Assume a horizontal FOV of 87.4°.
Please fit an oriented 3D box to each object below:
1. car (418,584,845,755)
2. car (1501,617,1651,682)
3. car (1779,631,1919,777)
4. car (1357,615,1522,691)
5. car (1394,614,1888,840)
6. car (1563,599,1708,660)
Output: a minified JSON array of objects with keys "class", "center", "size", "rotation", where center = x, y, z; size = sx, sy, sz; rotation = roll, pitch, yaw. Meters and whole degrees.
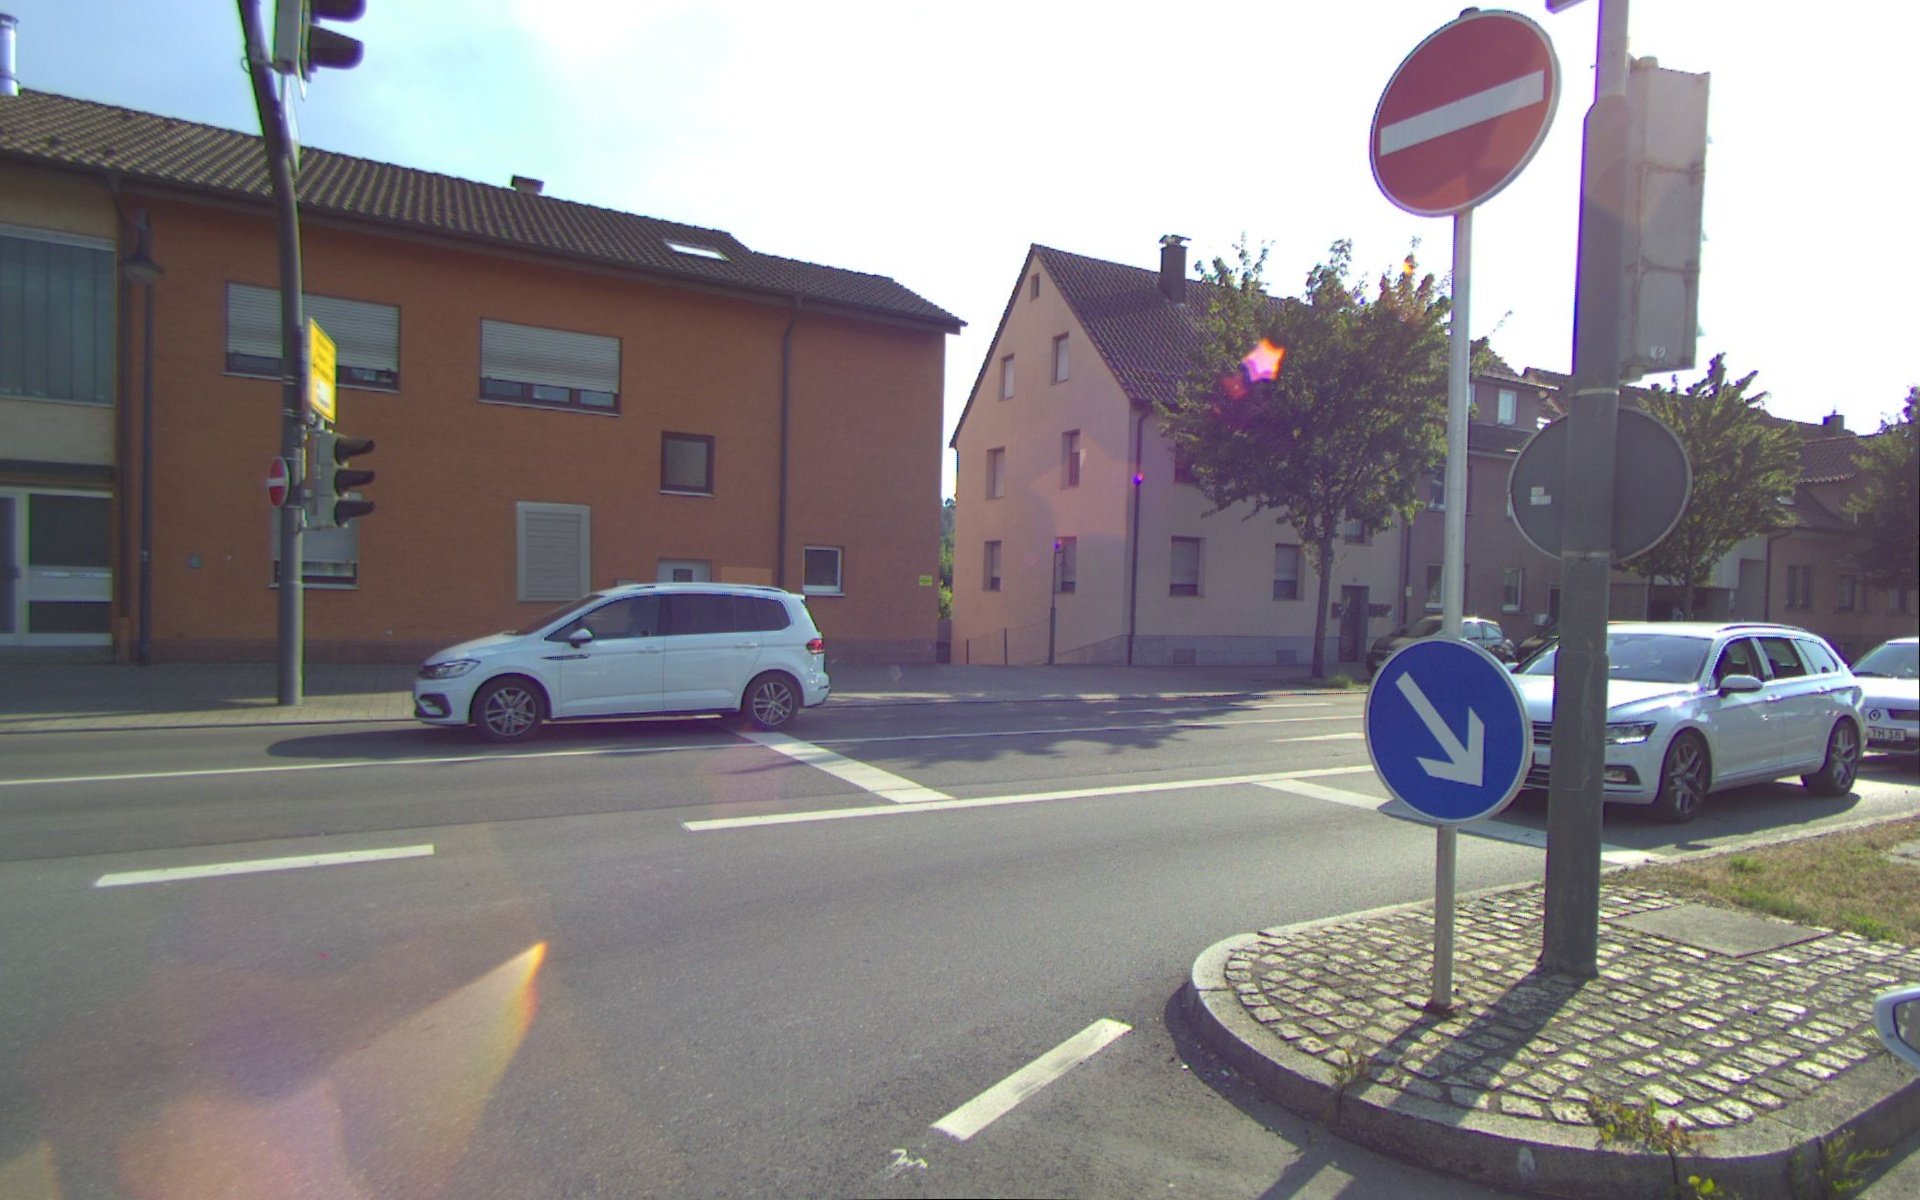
[{"class":"car","center":[-3.657,0.703,11.420],"size":[4.362,1.633,1.677],"rotation":[1,0,-31]},{"class":"car","center":[15.734,1.213,25.611],"size":[4.087,1.530,1.610],"rotation":[1,0,-32]},{"class":"car","center":[11.046,1.111,11.314],"size":[3.533,1.446,1.583],"rotation":[2,-1,-28]},{"class":"car","center":[10.934,1.153,22.844],"size":[3.841,1.531,1.504],"rotation":[1,2,-31]},{"class":"car","center":[6.032,0.909,8.770],"size":[4.513,1.508,1.826],"rotation":[1,0,-31]},{"class":"car","center":[23.792,1.010,35.518],"size":[1.757,1.906,3.805],"rotation":[1,1,-28]}]
